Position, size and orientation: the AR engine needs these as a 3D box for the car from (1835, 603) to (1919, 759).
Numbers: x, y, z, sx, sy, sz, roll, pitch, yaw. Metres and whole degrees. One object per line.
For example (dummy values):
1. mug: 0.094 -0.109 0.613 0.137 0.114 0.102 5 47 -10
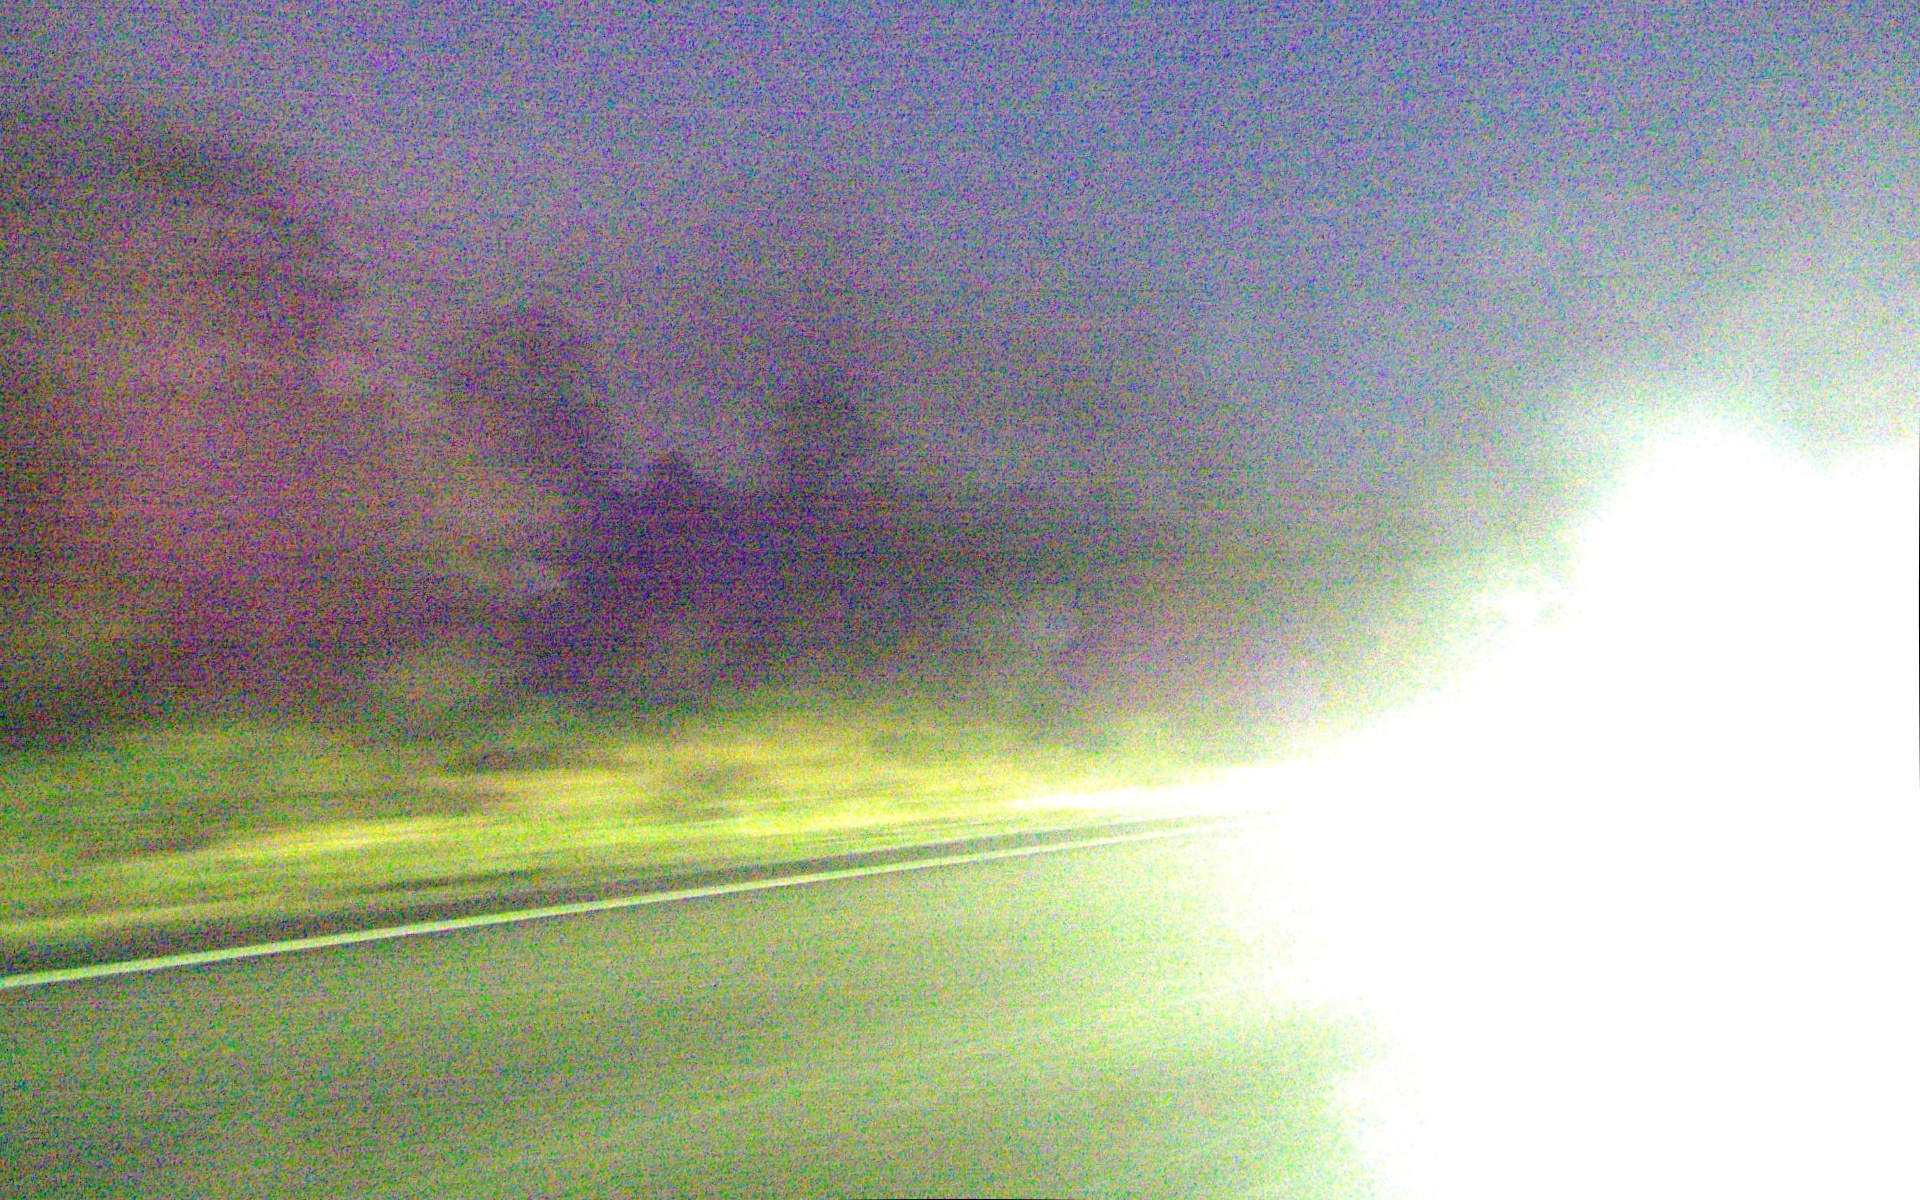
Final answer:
1. car: 12.297 0.978 11.784 3.956 1.683 1.982 3 0 -32
